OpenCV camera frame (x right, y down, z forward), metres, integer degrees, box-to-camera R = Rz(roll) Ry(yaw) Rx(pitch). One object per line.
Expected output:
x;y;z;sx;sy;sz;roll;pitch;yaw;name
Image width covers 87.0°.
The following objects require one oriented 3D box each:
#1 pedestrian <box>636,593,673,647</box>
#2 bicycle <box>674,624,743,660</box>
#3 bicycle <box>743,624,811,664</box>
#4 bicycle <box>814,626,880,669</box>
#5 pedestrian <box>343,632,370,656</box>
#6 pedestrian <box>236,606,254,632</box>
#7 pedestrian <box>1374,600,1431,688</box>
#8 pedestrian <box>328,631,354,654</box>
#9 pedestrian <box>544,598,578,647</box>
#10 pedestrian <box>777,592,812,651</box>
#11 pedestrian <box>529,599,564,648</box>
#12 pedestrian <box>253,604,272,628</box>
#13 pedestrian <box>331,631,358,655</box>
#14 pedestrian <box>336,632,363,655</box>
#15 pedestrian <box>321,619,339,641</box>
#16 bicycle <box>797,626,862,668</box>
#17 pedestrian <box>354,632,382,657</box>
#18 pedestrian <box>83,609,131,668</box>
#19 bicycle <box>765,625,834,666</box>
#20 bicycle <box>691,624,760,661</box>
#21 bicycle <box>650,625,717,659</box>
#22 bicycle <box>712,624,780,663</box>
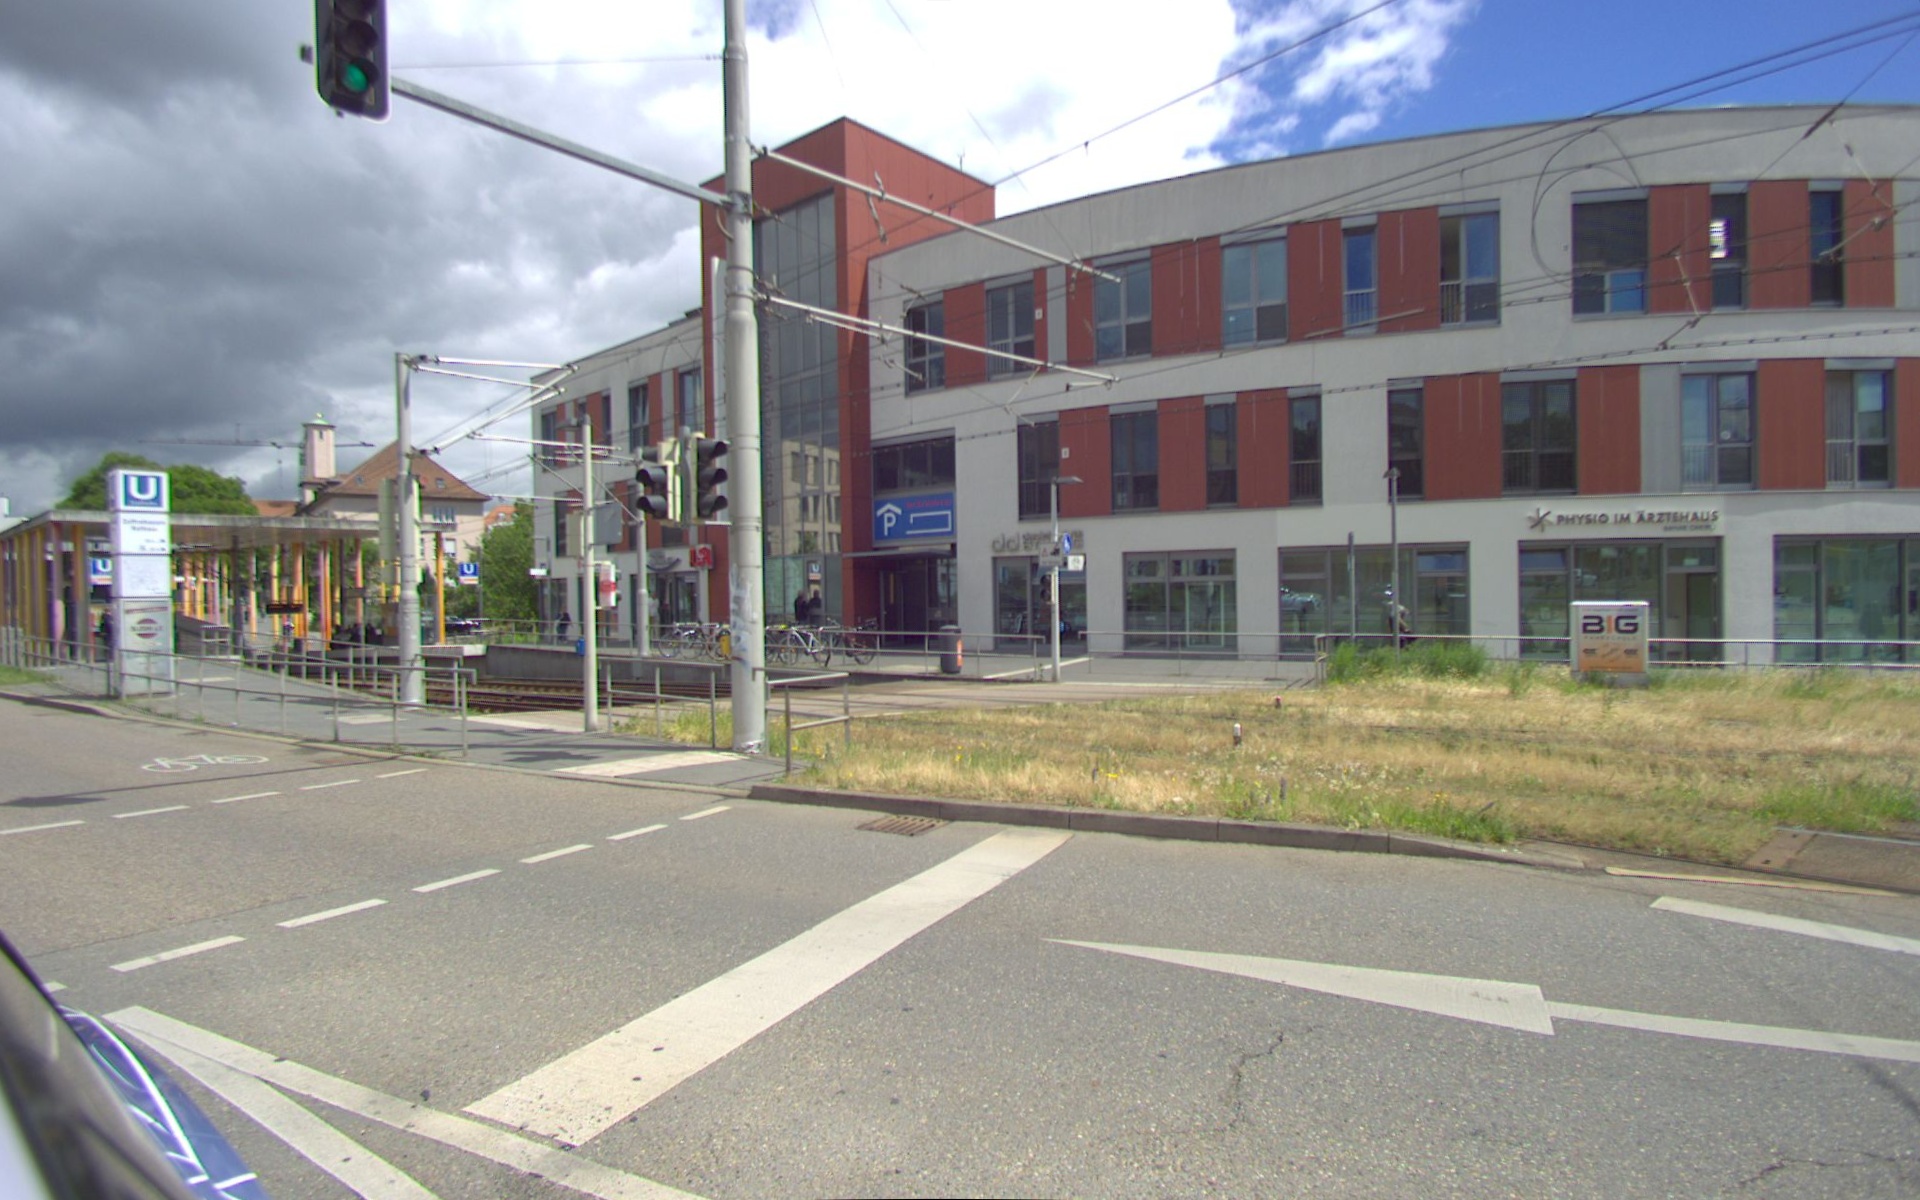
-11.396;0.734;37.764;1.106;1.983;0.852;0;-1;43;pedestrian
-6.980;1.156;28.147;1.835;0.939;0.455;0;0;-41;bicycle
-4.736;1.129;26.340;0.454;0.970;1.837;-1;0;43;bicycle
-2.734;1.140;24.675;0.428;0.959;1.716;-1;0;43;bicycle
-29.395;2.135;49.272;0.886;1.143;0.931;-2;-1;42;pedestrian
-57.708;1.531;81.674;1.110;2.029;1.461;0;-1;-36;pedestrian
10.245;0.997;23.466;1.106;1.983;0.860;0;-1;17;pedestrian
-31.362;2.151;51.279;0.886;1.143;0.931;-2;-1;42;pedestrian
-16.359;0.928;41.473;1.105;1.983;0.853;0;-1;39;pedestrian
-5.309;0.666;32.485;0.856;1.859;0.876;0;1;13;pedestrian
-16.803;0.940;41.119;1.105;1.983;0.853;0;-1;39;pedestrian
-57.617;1.318;83.603;1.112;2.029;1.180;0;-1;-44;pedestrian
-30.802;2.141;50.625;0.886;1.143;0.931;-2;-1;42;pedestrian
-30.112;2.137;49.907;0.886;1.143;0.931;-2;-1;42;pedestrian
-42.919;2.038;68.944;0.900;1.461;0.736;-2;-1;33;pedestrian
-3.222;1.139;25.078;0.428;0.965;1.716;-1;0;43;bicycle
-28.546;2.135;48.798;0.886;1.143;0.931;-2;-1;42;pedestrian
-28.266;1.264;33.542;0.864;1.929;1.090;0;-1;42;pedestrian
-4.053;1.140;25.705;0.454;0.942;1.837;-1;0;43;bicycle
-6.367;1.153;27.588;1.835;0.929;0.455;0;0;-42;bicycle
-7.873;1.193;28.835;1.834;0.888;0.455;0;0;-41;bicycle
-5.695;1.140;26.988;1.836;0.946;0.455;0;0;-45;bicycle
